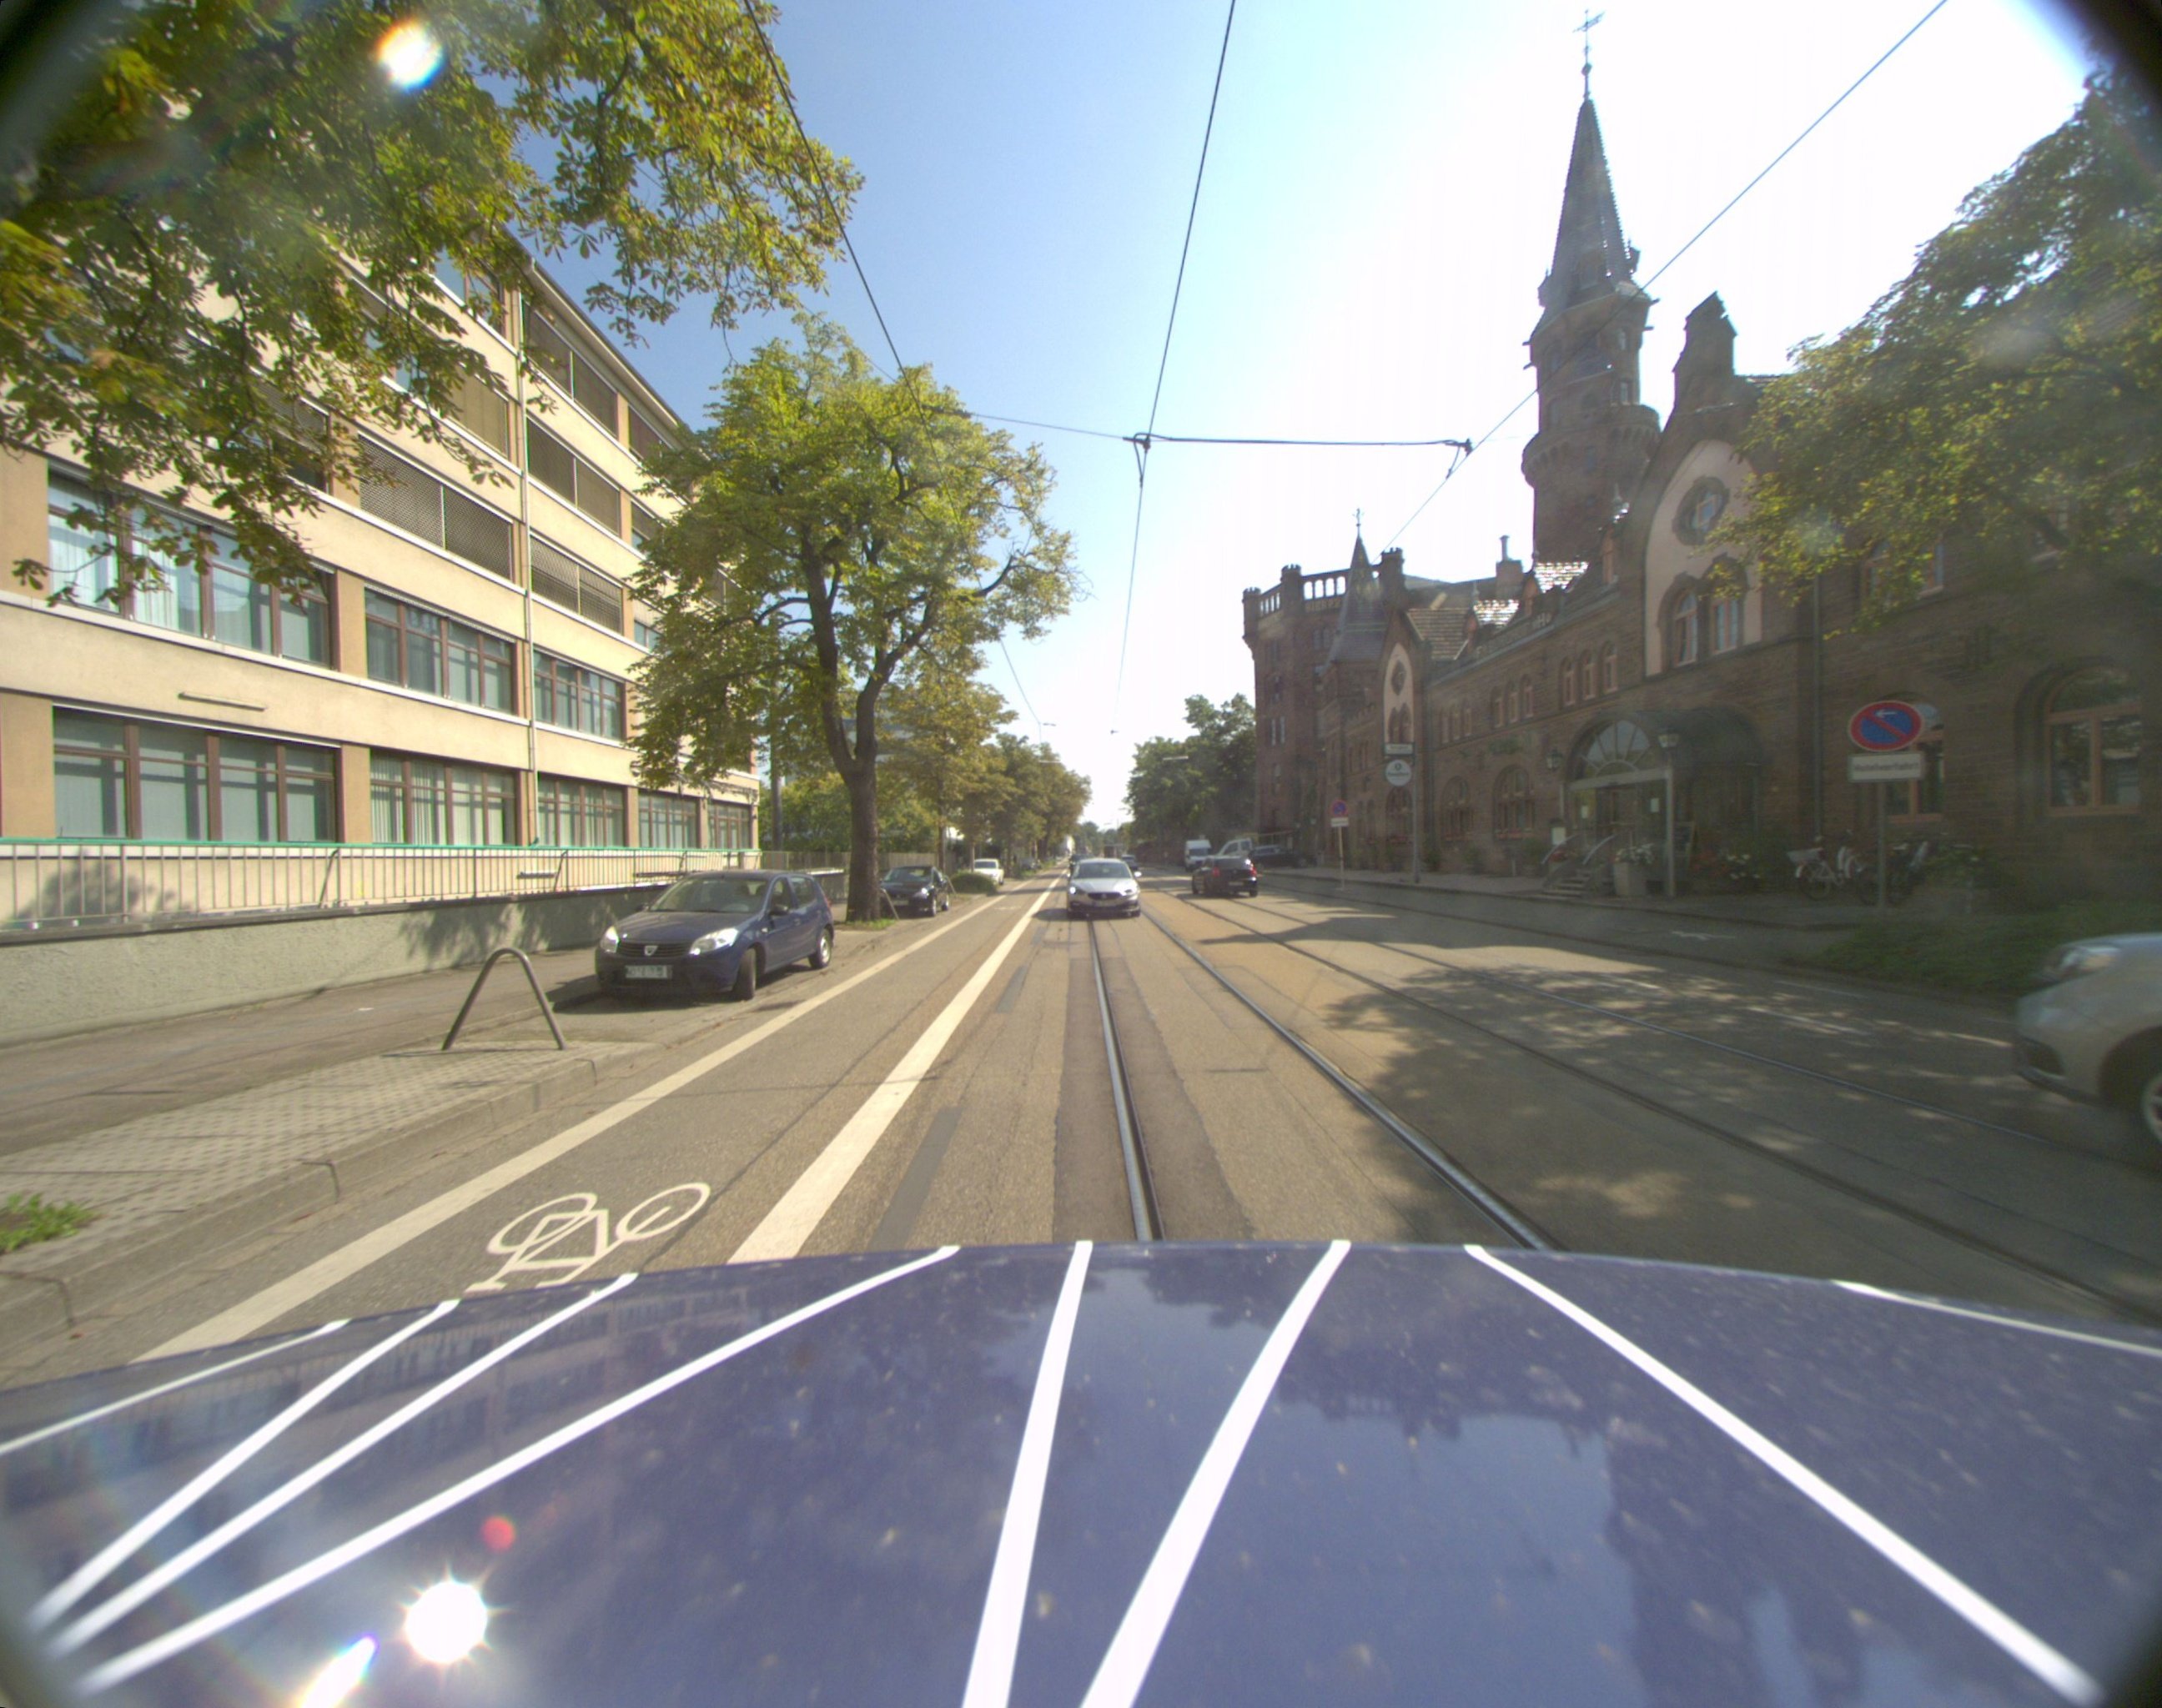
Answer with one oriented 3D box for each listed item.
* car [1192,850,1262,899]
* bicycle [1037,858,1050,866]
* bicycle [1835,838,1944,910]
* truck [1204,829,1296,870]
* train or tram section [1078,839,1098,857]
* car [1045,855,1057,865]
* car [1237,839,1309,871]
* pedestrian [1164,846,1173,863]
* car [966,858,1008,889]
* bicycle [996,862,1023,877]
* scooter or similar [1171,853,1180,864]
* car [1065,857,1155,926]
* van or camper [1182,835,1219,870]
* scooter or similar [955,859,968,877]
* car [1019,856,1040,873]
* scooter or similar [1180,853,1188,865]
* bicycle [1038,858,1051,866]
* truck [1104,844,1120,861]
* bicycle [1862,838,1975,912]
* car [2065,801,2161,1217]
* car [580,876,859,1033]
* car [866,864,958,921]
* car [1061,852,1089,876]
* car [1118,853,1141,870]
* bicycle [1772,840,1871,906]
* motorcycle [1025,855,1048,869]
[{"bbox_3d":[4.986,0.659,26.457,1.685,1.562,4.206,0,0,1],"label":"car"},{"bbox_3d":[-5.080,1.074,102.361,1.776,1.043,0.540,-1,0,-1],"label":"bicycle"},{"bbox_3d":[13.815,0.339,12.999,1.455,1.087,0.399,-5,1,-4],"label":"bicycle"},{"bbox_3d":[12.645,-0.293,57.074,6.334,2.523,2.132,-5,-1,5],"label":"truck"},{"bbox_3d":[1.779,-1.267,177.158,4.111,3.711,24.379,-2,0,1],"label":"train or tram section"},{"bbox_3d":[-4.793,0.965,123.088,1.760,1.453,4.274,-1,0,0],"label":"car"},{"bbox_3d":[12.589,0.096,50.101,4.146,1.733,2.000,-5,0,1],"label":"car"},{"bbox_3d":[10.328,0.069,89.411,0.866,2.002,0.983,-2,1,-2],"label":"pedestrian"},{"bbox_3d":[-4.941,0.982,40.343,1.663,1.472,4.216,-1,0,0],"label":"car"},{"bbox_3d":[-4.992,1.083,53.102,1.816,0.952,0.558,-2,1,0],"label":"bicycle"},{"bbox_3d":[10.208,0.454,82.095,0.422,1.172,1.315,-2,0,-16],"label":"scooter or similar"},{"bbox_3d":[0.597,0.827,18.800,1.928,1.465,4.816,-1,0,-1],"label":"car"},{"bbox_3d":[9.655,-0.106,61.923,2.118,2.659,5.955,-2,0,1],"label":"van or camper"},{"bbox_3d":[-8.729,1.000,55.418,0.557,1.252,1.818,-2,0,2],"label":"scooter or similar"},{"bbox_3d":[-4.807,0.927,71.223,1.760,1.506,4.608,-1,0,-1],"label":"car"},{"bbox_3d":[10.548,0.537,77.795,0.340,1.172,1.180,-2,0,25],"label":"scooter or similar"},{"bbox_3d":[-5.095,1.058,104.841,1.776,1.043,0.540,-1,0,-1],"label":"bicycle"},{"bbox_3d":[8.477,-0.453,204.694,3.171,4.427,16.847,-2,0,6],"label":"truck"},{"bbox_3d":[13.818,0.339,12.548,1.455,1.087,0.399,-5,1,-4],"label":"bicycle"},{"bbox_3d":[5.824,0.628,1.735,1.753,1.786,3.996,-2,0,-12],"label":"car"},{"bbox_3d":[-4.566,1.159,10.414,1.747,1.547,4.216,-1,0,0],"label":"car"},{"bbox_3d":[-4.764,1.033,21.962,1.663,1.399,4.216,-1,0,0],"label":"car"},{"bbox_3d":[-0.388,0.652,53.204,1.834,1.543,4.032,-2,0,0],"label":"car"},{"bbox_3d":[4.512,0.655,70.721,1.851,1.483,4.867,-1,0,1],"label":"car"},{"bbox_3d":[13.759,0.340,14.123,1.455,1.087,0.399,-5,1,-4],"label":"bicycle"},{"bbox_3d":[-4.791,0.879,81.888,2.448,1.507,0.854,-2,1,38],"label":"motorcycle"}]
